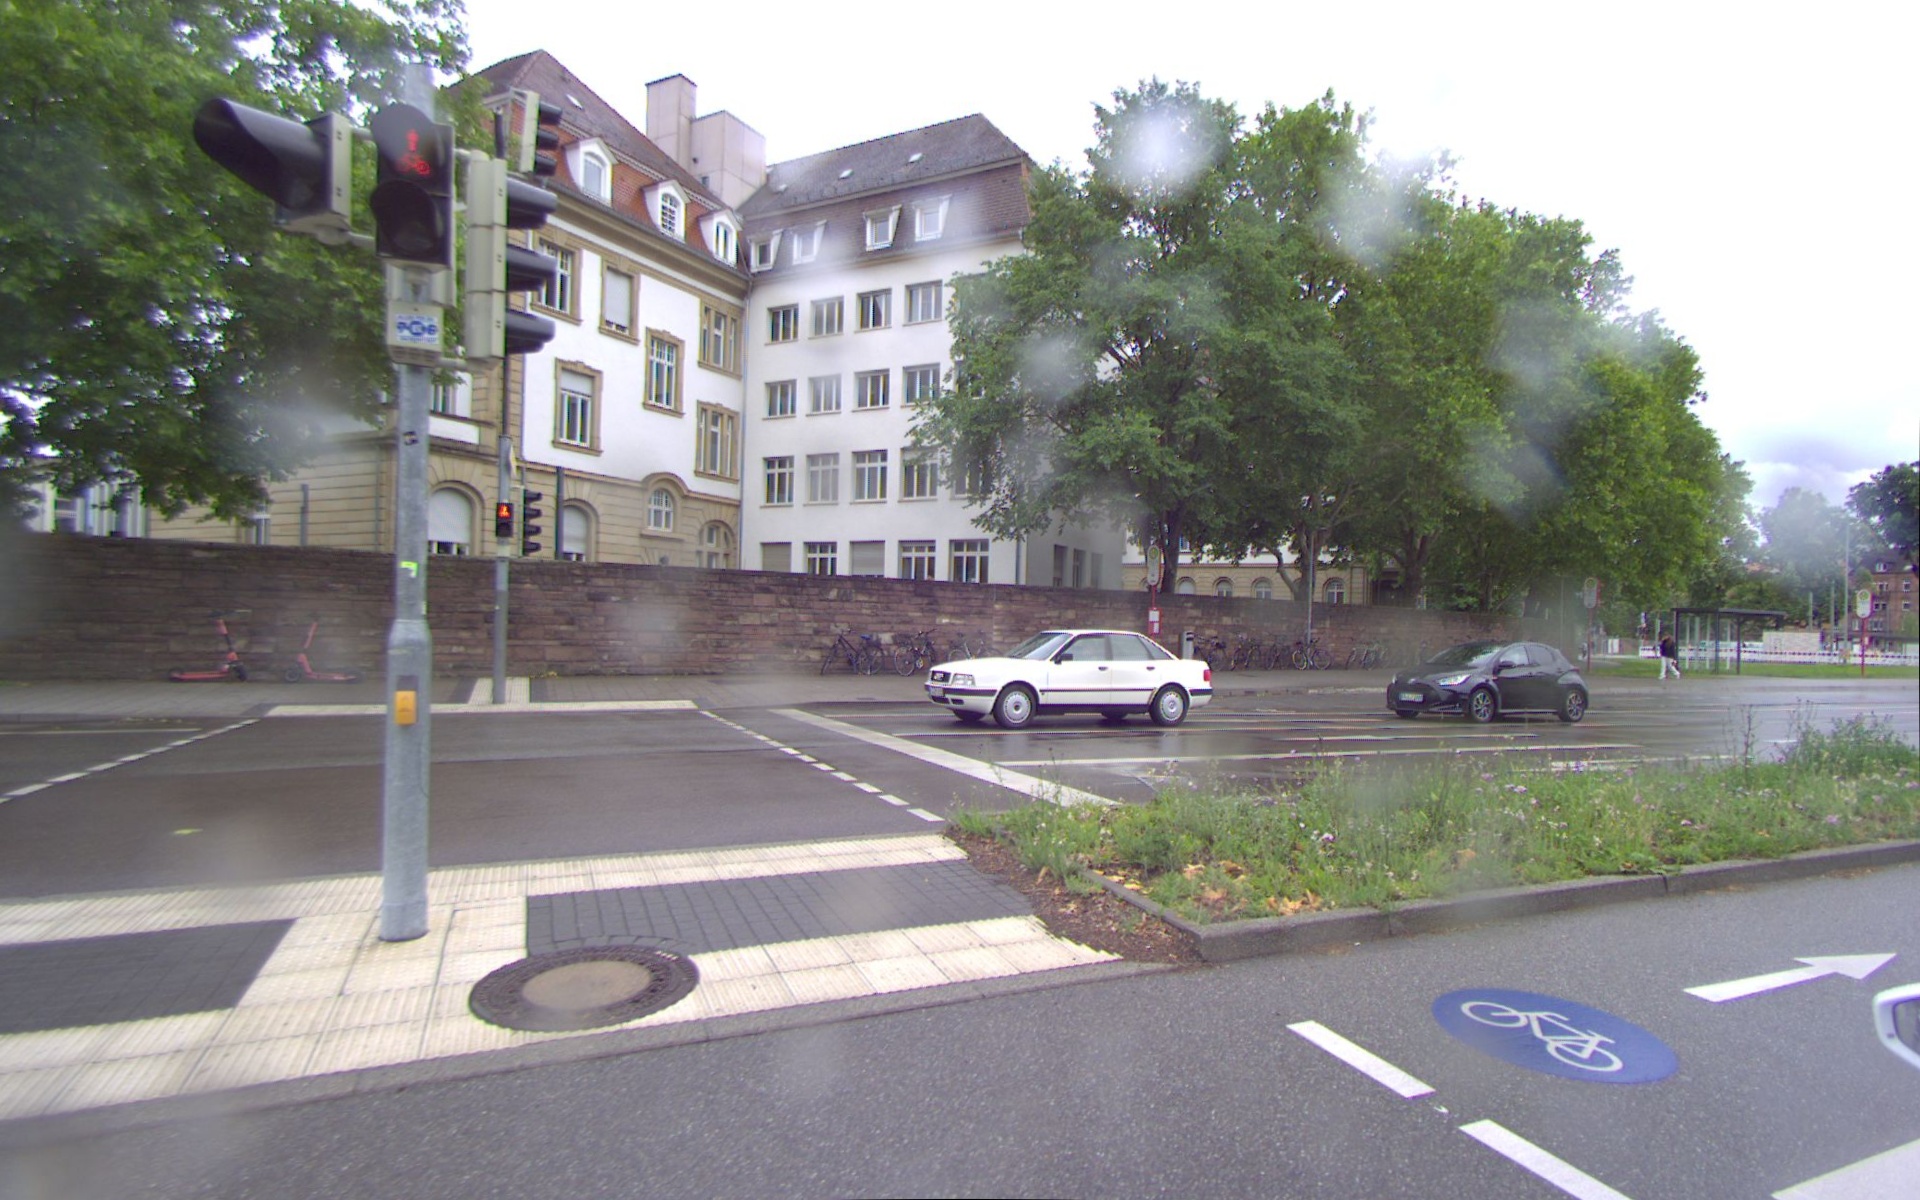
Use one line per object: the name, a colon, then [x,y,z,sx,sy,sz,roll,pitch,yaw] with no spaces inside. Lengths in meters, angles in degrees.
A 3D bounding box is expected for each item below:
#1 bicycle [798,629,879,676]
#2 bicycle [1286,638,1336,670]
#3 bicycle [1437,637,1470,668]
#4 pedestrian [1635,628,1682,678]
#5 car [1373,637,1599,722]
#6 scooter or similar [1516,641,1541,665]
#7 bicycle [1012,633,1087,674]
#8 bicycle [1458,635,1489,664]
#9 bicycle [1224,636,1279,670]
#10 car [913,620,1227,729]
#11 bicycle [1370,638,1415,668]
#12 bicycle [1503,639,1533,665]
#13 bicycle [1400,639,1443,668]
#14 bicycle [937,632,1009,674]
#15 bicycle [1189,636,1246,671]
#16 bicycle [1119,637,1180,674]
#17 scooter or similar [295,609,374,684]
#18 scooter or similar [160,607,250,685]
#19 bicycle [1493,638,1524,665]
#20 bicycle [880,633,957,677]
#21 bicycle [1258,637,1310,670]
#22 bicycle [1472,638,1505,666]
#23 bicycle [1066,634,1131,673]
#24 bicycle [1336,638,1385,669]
bicycle: [-2.758,1.190,22.864,1.685,0.996,0.726,2,-1,-36]
bicycle: [11.458,1.753,32.781,1.685,0.996,0.726,2,-1,-36]
bicycle: [19.520,2.063,39.704,0.567,1.151,1.979,1,-1,45]
pedestrian: [24.655,1.860,35.445,1.384,1.718,0.864,2,-1,-31]
car: [9.762,1.437,18.608,4.011,1.434,1.619,2,-2,-25]
scooter or similar: [26.626,2.467,47.030,1.352,1.060,0.567,2,-1,-41]
bicycle: [2.299,1.372,25.750,1.844,0.996,0.727,2,-1,-32]
bicycle: [21.185,2.052,41.439,0.567,1.151,1.979,1,-1,45]
bicycle: [8.997,1.641,30.965,1.685,0.996,0.726,2,-1,-36]
car: [1.676,1.086,14.904,4.462,1.434,1.592,2,-2,-25]
bicycle: [15.585,1.907,36.183,1.685,0.996,0.726,2,-1,-36]
bicycle: [25.587,2.362,46.035,1.976,1.151,0.568,2,-1,-41]
bicycle: [17.247,1.995,37.534,1.685,0.996,0.726,2,-1,-36]
bicycle: [0.328,1.307,24.888,1.685,0.996,0.726,2,-1,-36]
bicycle: [7.659,1.586,29.855,1.685,0.996,0.726,2,-1,-36]
bicycle: [5.350,1.558,28.385,1.685,0.996,0.726,2,-1,-36]
scooter or similar: [-10.810,0.806,17.385,1.129,1.214,0.388,2,6,-32]
scooter or similar: [-12.381,0.757,16.496,1.129,1.214,0.389,2,6,-30]
bicycle: [24.273,2.275,44.455,1.976,1.151,0.568,2,-1,-41]
bicycle: [-0.973,1.294,23.756,1.685,0.996,0.726,2,-1,-36]
bicycle: [10.333,1.711,32.054,1.685,0.996,0.726,2,-1,-36]
bicycle: [22.592,2.203,42.945,1.976,1.151,0.568,2,-1,-41]
bicycle: [3.716,1.432,26.985,1.685,0.996,0.726,2,-1,-36]
bicycle: [13.509,1.807,33.877,1.685,0.996,0.726,2,-1,-36]
